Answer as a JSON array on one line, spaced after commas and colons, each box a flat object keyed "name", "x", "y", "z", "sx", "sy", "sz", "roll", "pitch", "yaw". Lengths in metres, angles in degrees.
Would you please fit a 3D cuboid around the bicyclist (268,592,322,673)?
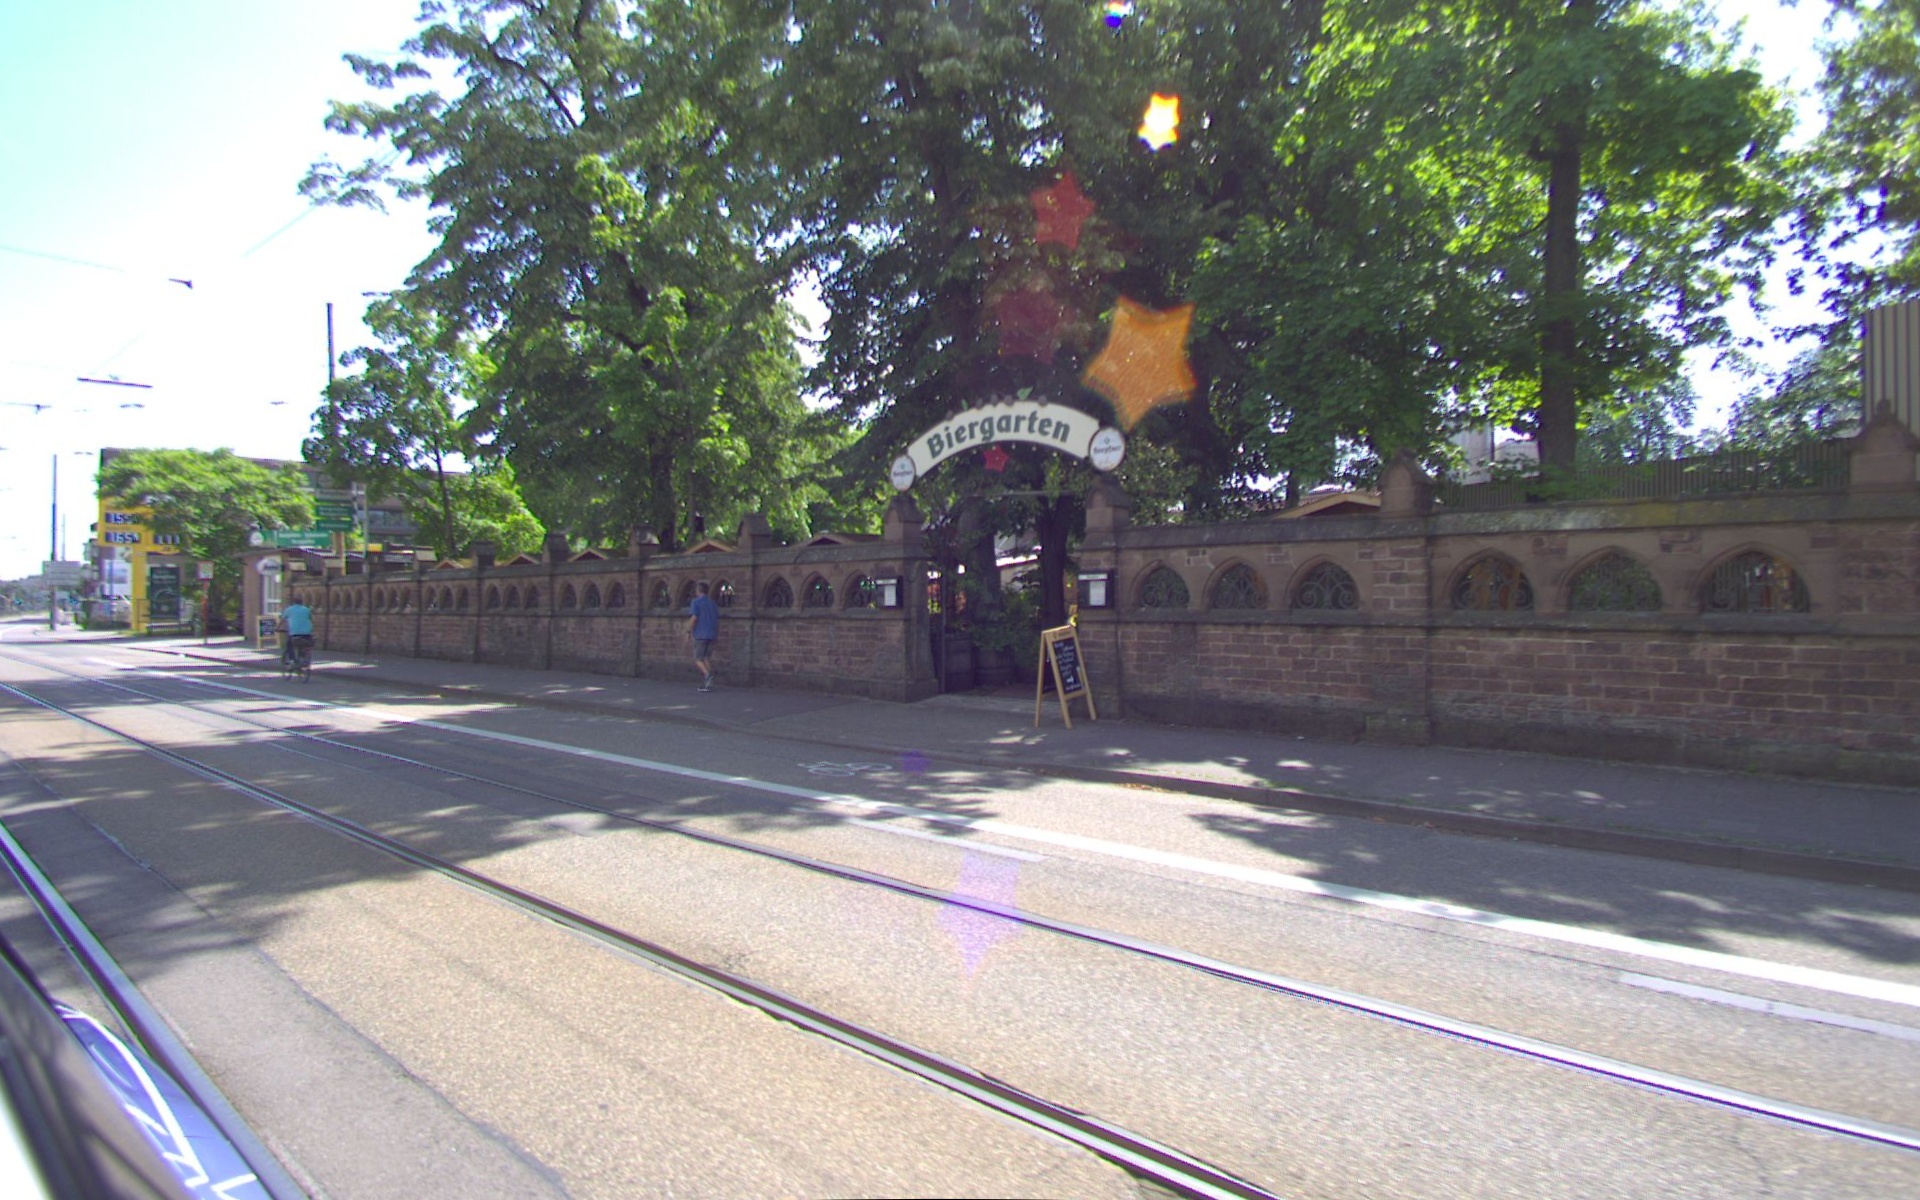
[{"name": "bicyclist", "x": -13.925, "y": 0.681, "z": 21.196, "sx": 0.919, "sy": 1.637, "sz": 0.656, "roll": -1, "pitch": -3, "yaw": 41}]

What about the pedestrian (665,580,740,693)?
[{"name": "pedestrian", "x": -4.159, "y": 0.570, "z": 16.354, "sx": 0.919, "sy": 1.761, "sz": 0.741, "roll": -1, "pitch": 1, "yaw": 41}]

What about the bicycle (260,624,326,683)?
[{"name": "bicycle", "x": -14.027, "y": 1.108, "z": 21.266, "sx": 1.895, "sy": 1.172, "sz": 0.652, "roll": -1, "pitch": -3, "yaw": 41}]
